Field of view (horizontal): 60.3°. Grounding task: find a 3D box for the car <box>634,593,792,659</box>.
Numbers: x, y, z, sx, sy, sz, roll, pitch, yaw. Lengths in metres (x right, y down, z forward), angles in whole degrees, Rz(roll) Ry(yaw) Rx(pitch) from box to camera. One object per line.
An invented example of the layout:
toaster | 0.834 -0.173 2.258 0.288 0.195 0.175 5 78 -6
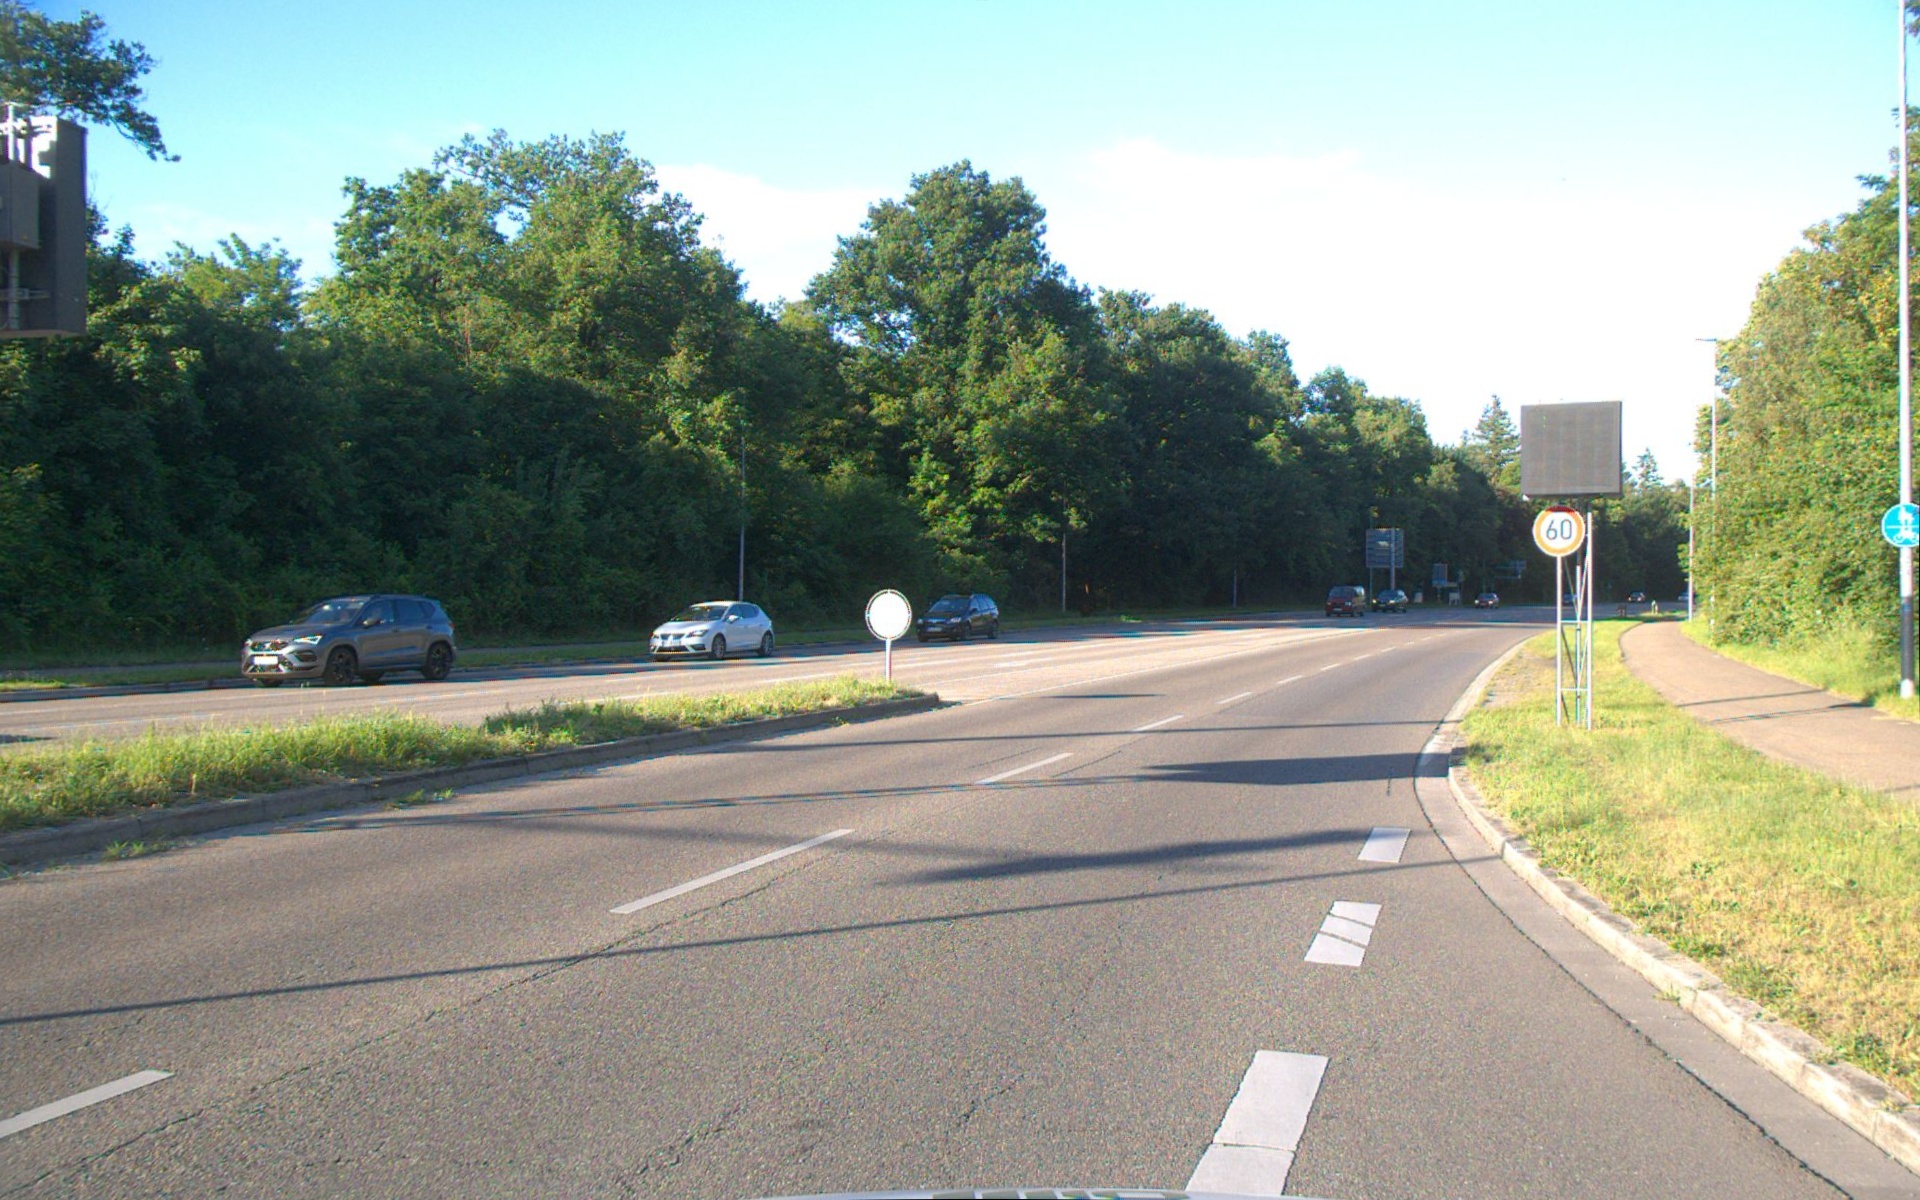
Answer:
car | -6.231 0.638 42.284 1.952 1.591 4.648 -1 0 21

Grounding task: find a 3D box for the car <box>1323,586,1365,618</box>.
car | 24.772 0.119 106.629 1.952 1.996 4.648 -1 0 21

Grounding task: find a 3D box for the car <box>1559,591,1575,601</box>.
car | 74.269 -0.504 202.357 1.708 1.256 4.672 0 0 23

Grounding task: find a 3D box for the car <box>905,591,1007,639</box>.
car | -0.086 0.497 56.907 1.952 1.591 4.648 -1 0 21

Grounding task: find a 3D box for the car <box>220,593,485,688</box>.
car | -10.935 0.683 30.167 1.952 1.591 4.648 -1 0 21

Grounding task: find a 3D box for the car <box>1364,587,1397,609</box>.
car | 32.148 -0.192 126.357 1.952 1.665 4.844 0 0 21

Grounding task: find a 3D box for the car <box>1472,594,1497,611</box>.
car | 50.479 0.244 159.121 1.953 1.591 4.337 0 0 23
